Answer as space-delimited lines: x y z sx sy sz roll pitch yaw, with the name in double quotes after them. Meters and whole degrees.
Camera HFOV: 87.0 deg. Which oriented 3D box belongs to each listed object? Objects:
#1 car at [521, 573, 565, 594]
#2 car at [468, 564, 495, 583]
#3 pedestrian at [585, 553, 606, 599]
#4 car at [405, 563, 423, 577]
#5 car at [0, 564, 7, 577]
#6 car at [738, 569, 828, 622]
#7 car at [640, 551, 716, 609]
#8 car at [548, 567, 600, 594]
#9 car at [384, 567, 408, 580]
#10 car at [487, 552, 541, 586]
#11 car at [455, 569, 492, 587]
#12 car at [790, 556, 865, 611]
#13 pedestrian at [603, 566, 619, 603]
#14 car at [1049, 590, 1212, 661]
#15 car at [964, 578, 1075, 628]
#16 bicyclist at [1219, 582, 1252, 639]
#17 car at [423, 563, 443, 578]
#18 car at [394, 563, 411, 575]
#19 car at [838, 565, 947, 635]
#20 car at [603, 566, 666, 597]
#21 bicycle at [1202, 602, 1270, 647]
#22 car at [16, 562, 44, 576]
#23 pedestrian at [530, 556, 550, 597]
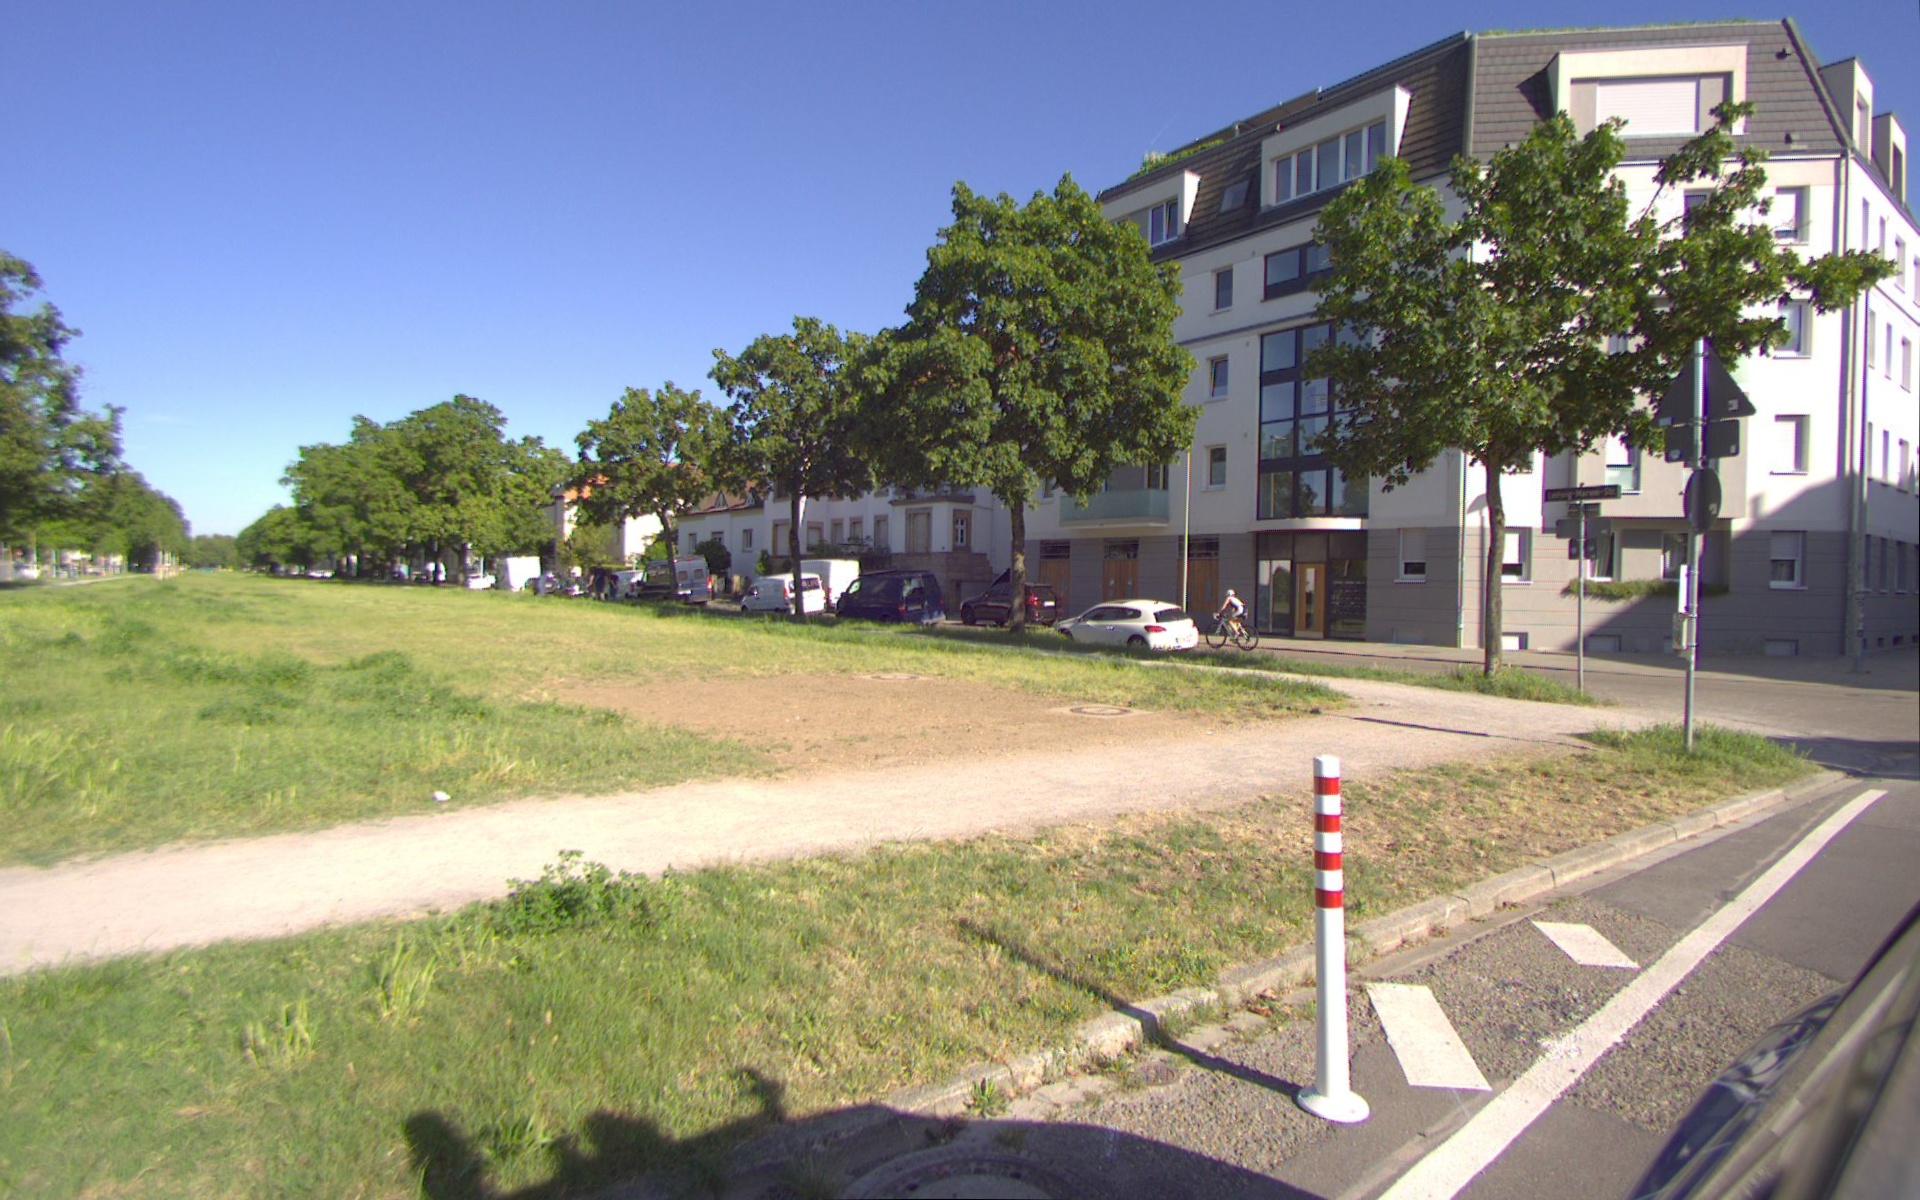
-29.150 -1.177 70.706 1.898 1.361 4.109 1 1 -36 "car"
-50.947 -2.823 107.741 1.831 1.868 3.994 0 2 -36 "car"
-15.425 -1.009 42.782 0.632 1.900 0.629 1 1 -38 "pedestrian"
-78.942 -4.342 146.257 1.831 1.868 3.994 1 1 -36 "car"
-101.052 -3.091 105.776 1.689 1.358 3.808 1 1 -37 "car"
-7.169 -0.237 40.677 1.841 1.906 4.425 -4 4 -34 "car"
-13.943 -1.025 49.965 2.153 2.615 4.288 -4 4 -36 "car"
-24.646 -1.241 64.464 2.046 1.618 4.288 1 1 -36 "car"
-69.368 -3.285 124.501 2.042 1.484 4.727 1 1 -36 "car"
-33.390 -2.330 75.677 2.503 2.363 5.920 1 1 -36 "car"
-42.454 -1.924 88.253 2.042 1.484 4.727 1 1 -36 "car"
-6.521 -0.856 49.622 1.985 2.580 3.994 -1 2 -36 "car"
-14.829 -0.664 43.032 0.487 1.524 0.535 1 1 -37 "pedestrian"
4.234 0.577 25.620 1.709 1.450 3.993 -5 4 -37 "car"
2.162 0.049 37.987 1.861 1.703 4.289 -1 2 -36 "car"
7.303 0.271 26.839 0.685 1.482 0.490 2 1 44 "bicyclist"
-70.827 -3.985 135.974 1.831 1.868 3.994 1 1 -36 "car"
-87.490 -4.852 158.679 1.831 1.868 3.994 1 1 -36 "car"
-2.320 -0.058 33.954 1.752 2.108 3.994 -4 4 -36 "car"
-17.942 -1.022 55.650 2.046 1.618 4.288 1 1 -36 "car"
7.300 0.627 26.836 0.499 1.102 1.704 1 1 -45 "bicycle"
-94.924 -3.158 103.350 1.689 1.358 3.808 1 1 -37 "car"
-19.765 -1.120 47.605 0.711 1.900 0.629 1 1 -38 "pedestrian"
